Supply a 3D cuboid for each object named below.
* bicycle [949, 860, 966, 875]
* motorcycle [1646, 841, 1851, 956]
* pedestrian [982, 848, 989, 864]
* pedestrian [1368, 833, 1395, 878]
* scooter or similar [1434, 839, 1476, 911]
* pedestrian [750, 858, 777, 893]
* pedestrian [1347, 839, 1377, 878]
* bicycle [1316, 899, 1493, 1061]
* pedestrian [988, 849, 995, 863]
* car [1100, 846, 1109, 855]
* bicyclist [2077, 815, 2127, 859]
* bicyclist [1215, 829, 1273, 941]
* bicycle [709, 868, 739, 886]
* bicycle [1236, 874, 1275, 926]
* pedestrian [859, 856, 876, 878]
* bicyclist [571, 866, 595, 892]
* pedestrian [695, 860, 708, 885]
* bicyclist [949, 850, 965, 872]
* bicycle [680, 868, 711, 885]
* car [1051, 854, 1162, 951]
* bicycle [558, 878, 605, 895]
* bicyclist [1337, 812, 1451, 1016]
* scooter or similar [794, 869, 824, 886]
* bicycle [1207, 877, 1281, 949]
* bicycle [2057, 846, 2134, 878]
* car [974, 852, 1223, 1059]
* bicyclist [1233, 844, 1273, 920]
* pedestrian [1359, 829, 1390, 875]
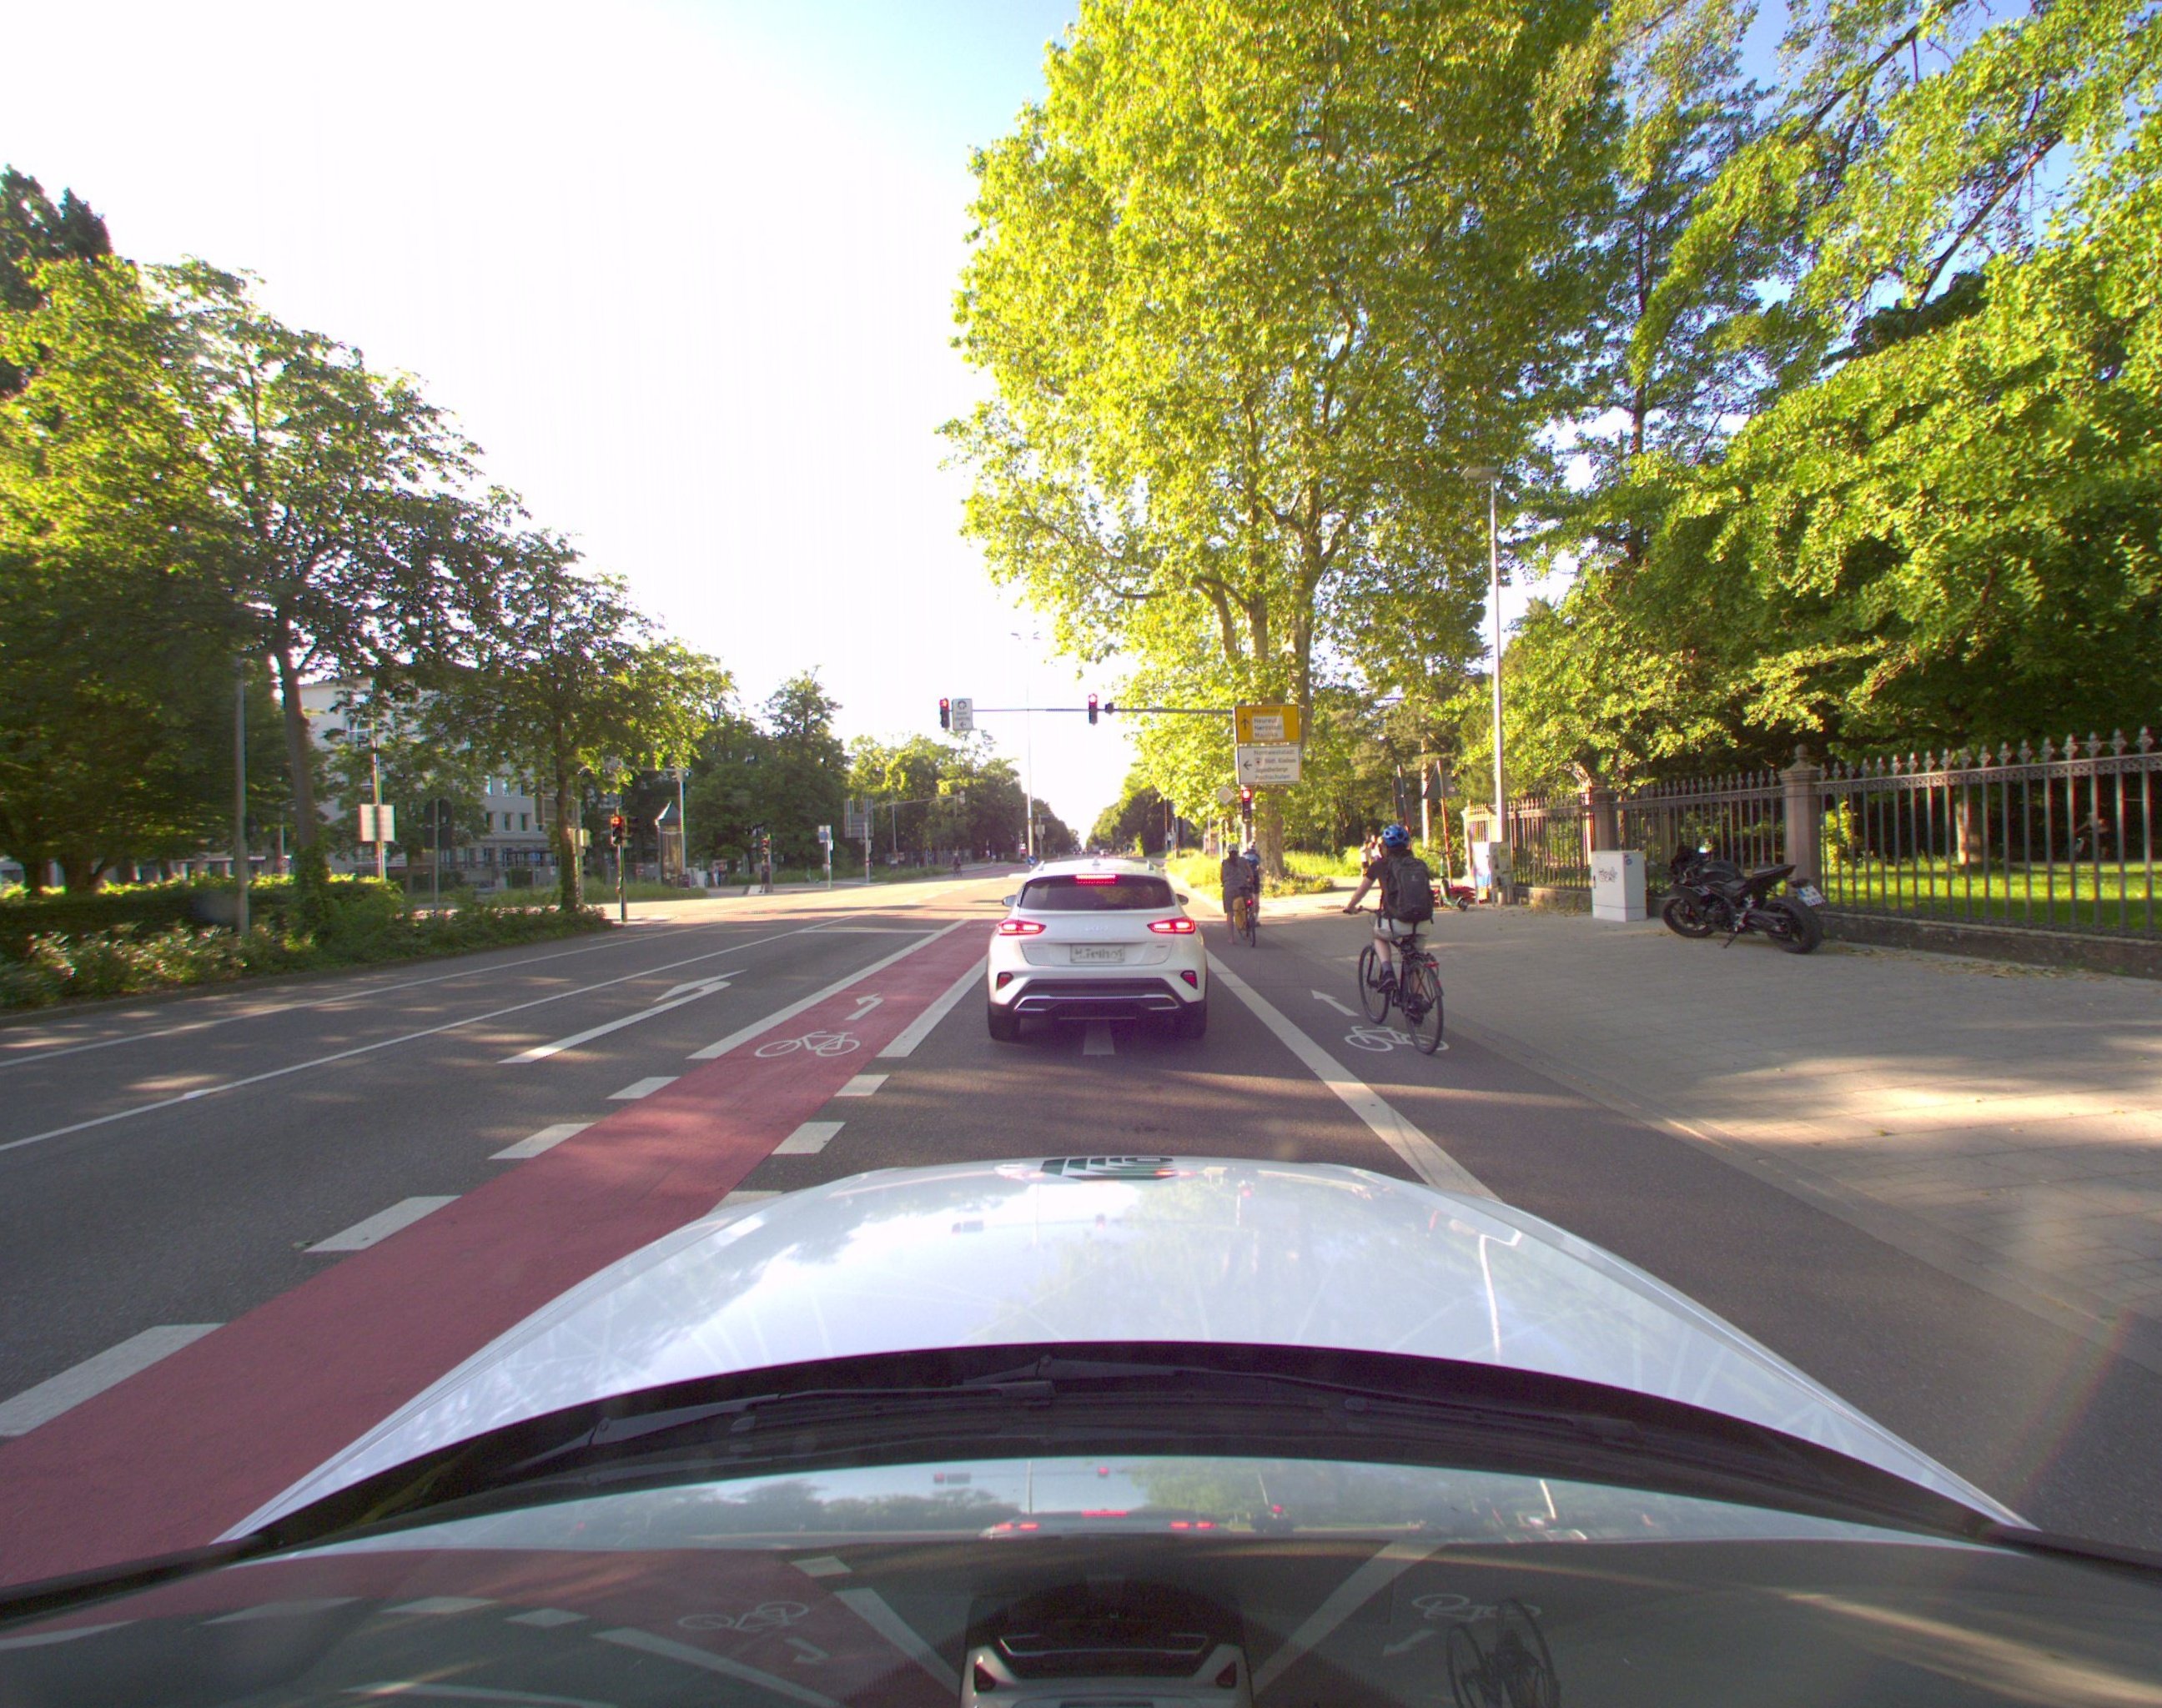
[{"bbox_3d":[-9.275,0.994,61.218,0.660,0.989,2.507,-3,0,4],"label":"bicycle"},{"bbox_3d":[7.460,0.450,9.265,0.504,1.131,2.170,-4,0,0],"label":"motorcycle"},{"bbox_3d":[-12.361,0.269,105.589,0.636,2.014,0.756,-1,-1,14],"label":"pedestrian"},{"bbox_3d":[11.471,0.058,31.095,0.688,1.699,0.643,-3,0,-5],"label":"pedestrian"},{"bbox_3d":[7.253,0.387,15.841,0.227,1.327,1.172,-3,0,0],"label":"scooter or similar"},{"bbox_3d":[-18.678,1.253,47.910,0.990,2.014,1.193,-1,-1,7],"label":"pedestrian"},{"bbox_3d":[11.073,0.178,32.097,0.816,1.518,0.916,-1,-1,-1],"label":"pedestrian"},{"bbox_3d":[2.584,0.945,6.791,0.666,1.009,2.081,-1,0,0],"label":"bicycle"},{"bbox_3d":[-11.582,0.268,105.610,0.782,1.785,0.751,-1,-1,2],"label":"pedestrian"},{"bbox_3d":[5.613,-0.880,191.725,1.986,2.013,4.002,-3,0,2],"label":"car"},{"bbox_3d":[34.026,-0.566,27.150,0.775,1.431,0.669,-1,-1,18],"label":"bicyclist"},{"bbox_3d":[2.695,0.493,13.569,0.750,1.795,1.165,0,0,0],"label":"bicyclist"},{"bbox_3d":[-23.976,1.523,54.691,1.859,1.148,0.290,-1,-1,-6],"label":"bicycle"},{"bbox_3d":[3.562,0.912,16.694,0.400,0.956,1.551,-5,0,0],"label":"bicycle"},{"bbox_3d":[-16.560,0.998,63.220,1.086,1.603,0.999,-3,0,-5],"label":"pedestrian"},{"bbox_3d":[-32.766,1.657,53.570,0.971,1.606,0.878,-3,0,2],"label":"bicyclist"},{"bbox_3d":[-25.464,1.257,54.638,0.627,1.642,0.445,-1,-1,-2],"label":"pedestrian"},{"bbox_3d":[-9.305,0.498,61.113,0.871,1.608,1.189,-3,0,4],"label":"bicyclist"},{"bbox_3d":[-26.057,1.521,55.031,1.853,1.148,0.443,-1,-1,3],"label":"bicycle"},{"bbox_3d":[0.422,0.780,14.892,1.723,1.483,3.516,-3,0,0],"label":"car"},{"bbox_3d":[-32.859,2.153,53.576,2.695,0.989,0.581,-3,0,2],"label":"bicycle"},{"bbox_3d":[2.579,0.471,6.778,0.663,1.602,0.721,-1,0,0],"label":"bicyclist"},{"bbox_3d":[-18.964,1.647,56.785,0.703,1.124,1.933,-1,0,34],"label":"scooter or similar"},{"bbox_3d":[2.699,0.944,13.758,0.755,1.013,2.569,0,0,0],"label":"bicycle"},{"bbox_3d":[33.881,0.269,27.206,1.604,1.015,0.477,-1,-1,17],"label":"bicycle"},{"bbox_3d":[0.151,0.747,8.026,1.815,1.480,3.936,-1,0,0],"label":"car"},{"bbox_3d":[3.529,0.560,16.725,0.552,1.478,0.717,-5,-1,0],"label":"bicyclist"},{"bbox_3d":[11.718,-0.079,32.541,0.816,1.771,0.831,-3,0,-5],"label":"pedestrian"}]
